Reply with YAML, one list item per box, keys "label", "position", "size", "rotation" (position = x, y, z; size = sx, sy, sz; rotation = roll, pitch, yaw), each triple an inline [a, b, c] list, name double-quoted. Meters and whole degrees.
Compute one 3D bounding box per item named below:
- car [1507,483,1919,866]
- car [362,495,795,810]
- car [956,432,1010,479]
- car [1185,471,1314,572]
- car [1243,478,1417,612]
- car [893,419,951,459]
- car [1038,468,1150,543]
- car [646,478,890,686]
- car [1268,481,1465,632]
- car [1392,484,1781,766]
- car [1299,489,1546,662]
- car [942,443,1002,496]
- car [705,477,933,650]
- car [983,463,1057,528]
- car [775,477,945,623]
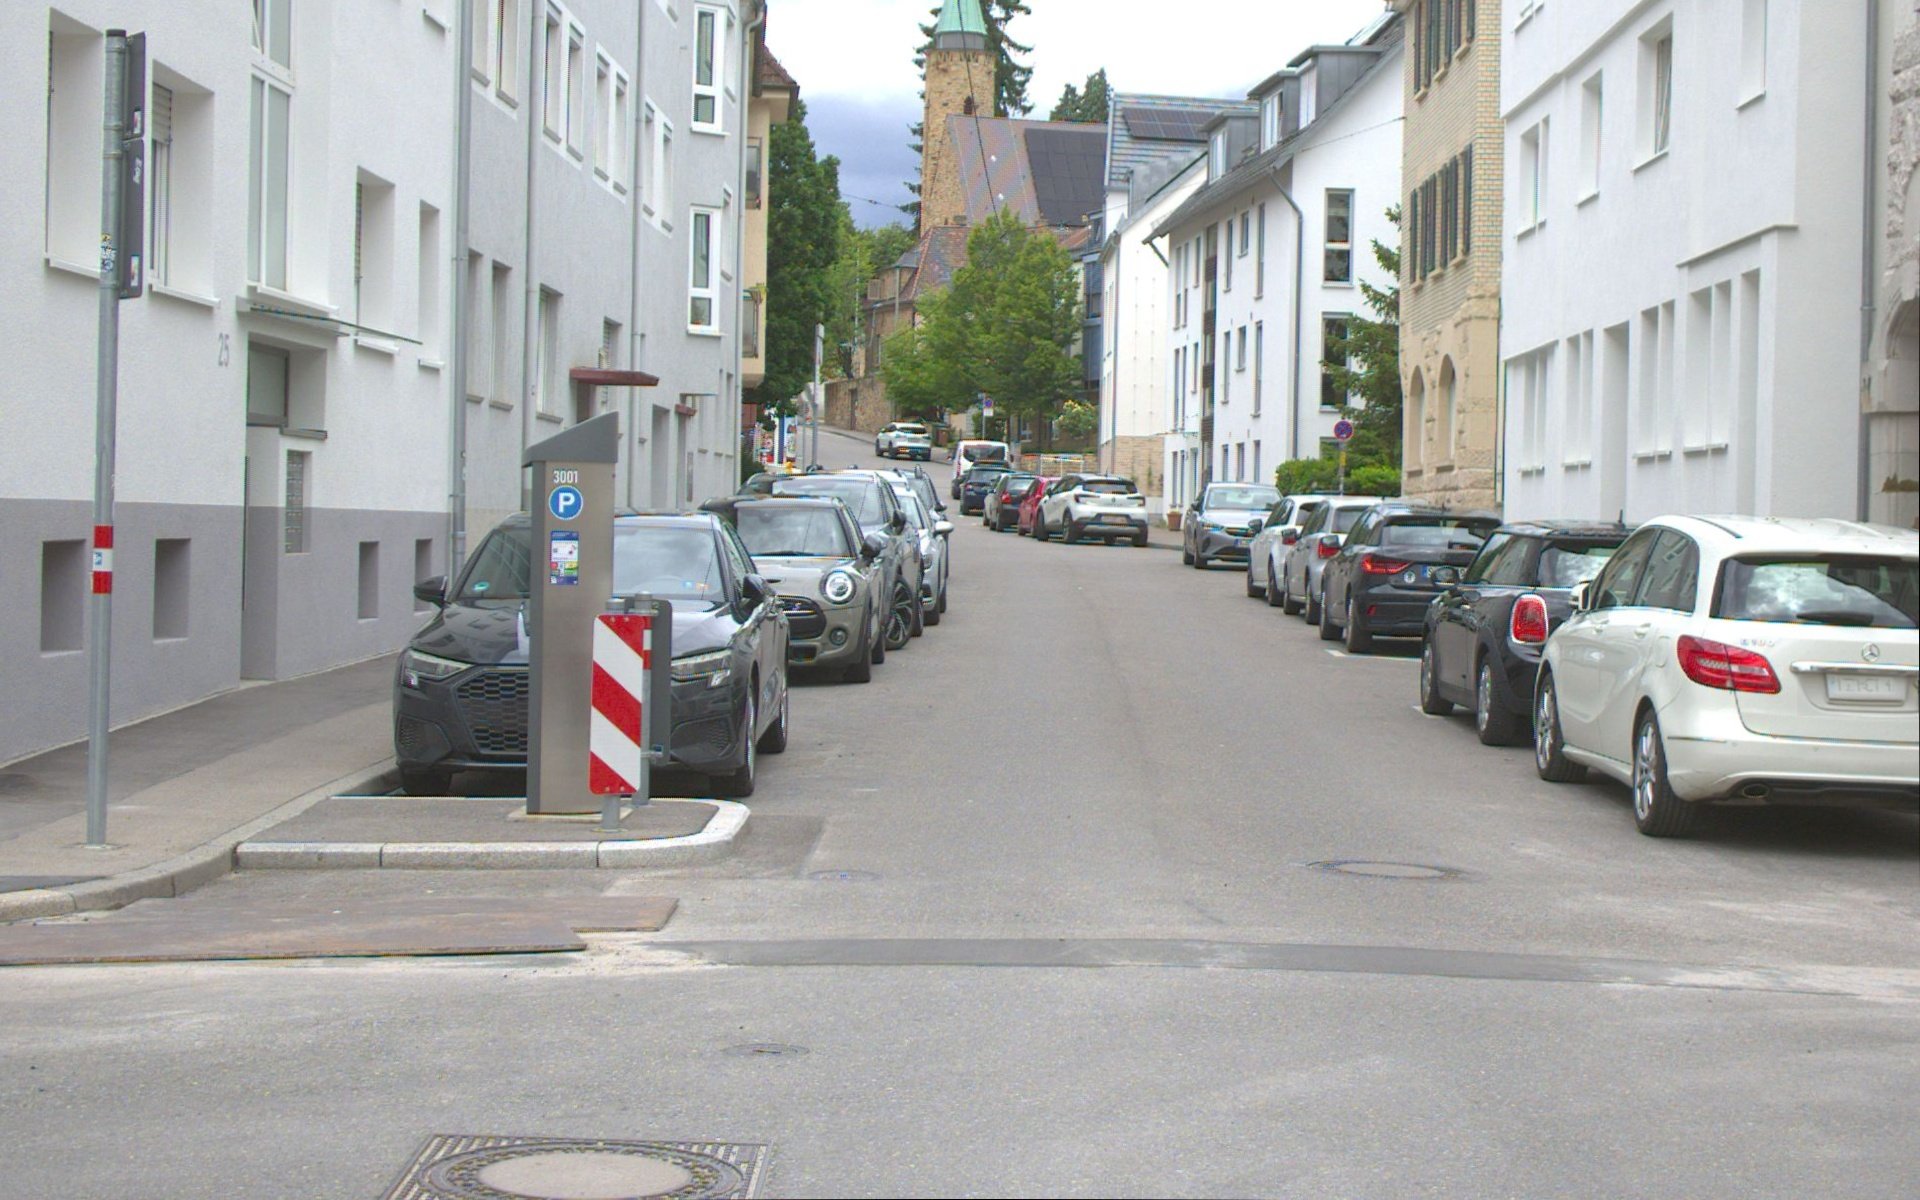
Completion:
- label: "car"
  position: [4.124, 0.292, 17.615]
  size: [1.820, 1.593, 4.028]
  rotation: [3, 3, -1]
- label: "car"
  position: [-1.883, 0.182, 18.174]
  size: [1.820, 1.386, 4.298]
  rotation: [1, 3, 0]
- label: "car"
  position: [0.761, -4.853, 115.210]
  size: [1.667, 1.474, 3.627]
  rotation: [2, 3, -1]
- label: "car"
  position: [4.769, -1.330, 57.071]
  size: [1.667, 1.474, 3.627]
  rotation: [3, 3, -1]
- label: "car"
  position: [4.672, -0.739, 43.889]
  size: [1.667, 1.474, 3.627]
  rotation: [3, 3, -1]
- label: "car"
  position: [-1.710, -7.219, 154.124]
  size: [2.181, 1.687, 3.627]
  rotation: [2, 3, -6]
- label: "car"
  position: [2.924, -2.106, 75.734]
  size: [1.783, 1.474, 3.627]
  rotation: [2, 3, -8]
- label: "car"
  position: [-1.457, -0.197, 27.298]
  size: [1.730, 1.484, 3.720]
  rotation: [1, 3, 0]
- label: "car"
  position: [4.597, -0.537, 39.308]
  size: [1.667, 1.474, 3.627]
  rotation: [3, 3, -1]
- label: "car"
  position: [4.043, 0.088, 22.820]
  size: [1.667, 1.527, 4.028]
  rotation: [3, 3, -1]
- label: "car"
  position: [4.382, -0.285, 33.120]
  size: [1.667, 1.380, 4.028]
  rotation: [3, 3, -1]
- label: "car"
  position: [0.347, -3.955, 103.481]
  size: [1.667, 1.474, 3.627]
  rotation: [2, 3, -1]
- label: "car"
  position: [-1.258, -0.390, 32.133]
  size: [1.730, 1.464, 3.719]
  rotation: [1, 3, 4]
- label: "car"
  position: [1.503, -2.655, 86.708]
  size: [1.667, 1.474, 3.627]
  rotation: [2, 3, -1]
- label: "car"
  position: [-1.043, -0.580, 37.313]
  size: [1.730, 1.443, 3.720]
  rotation: [1, 3, 0]
